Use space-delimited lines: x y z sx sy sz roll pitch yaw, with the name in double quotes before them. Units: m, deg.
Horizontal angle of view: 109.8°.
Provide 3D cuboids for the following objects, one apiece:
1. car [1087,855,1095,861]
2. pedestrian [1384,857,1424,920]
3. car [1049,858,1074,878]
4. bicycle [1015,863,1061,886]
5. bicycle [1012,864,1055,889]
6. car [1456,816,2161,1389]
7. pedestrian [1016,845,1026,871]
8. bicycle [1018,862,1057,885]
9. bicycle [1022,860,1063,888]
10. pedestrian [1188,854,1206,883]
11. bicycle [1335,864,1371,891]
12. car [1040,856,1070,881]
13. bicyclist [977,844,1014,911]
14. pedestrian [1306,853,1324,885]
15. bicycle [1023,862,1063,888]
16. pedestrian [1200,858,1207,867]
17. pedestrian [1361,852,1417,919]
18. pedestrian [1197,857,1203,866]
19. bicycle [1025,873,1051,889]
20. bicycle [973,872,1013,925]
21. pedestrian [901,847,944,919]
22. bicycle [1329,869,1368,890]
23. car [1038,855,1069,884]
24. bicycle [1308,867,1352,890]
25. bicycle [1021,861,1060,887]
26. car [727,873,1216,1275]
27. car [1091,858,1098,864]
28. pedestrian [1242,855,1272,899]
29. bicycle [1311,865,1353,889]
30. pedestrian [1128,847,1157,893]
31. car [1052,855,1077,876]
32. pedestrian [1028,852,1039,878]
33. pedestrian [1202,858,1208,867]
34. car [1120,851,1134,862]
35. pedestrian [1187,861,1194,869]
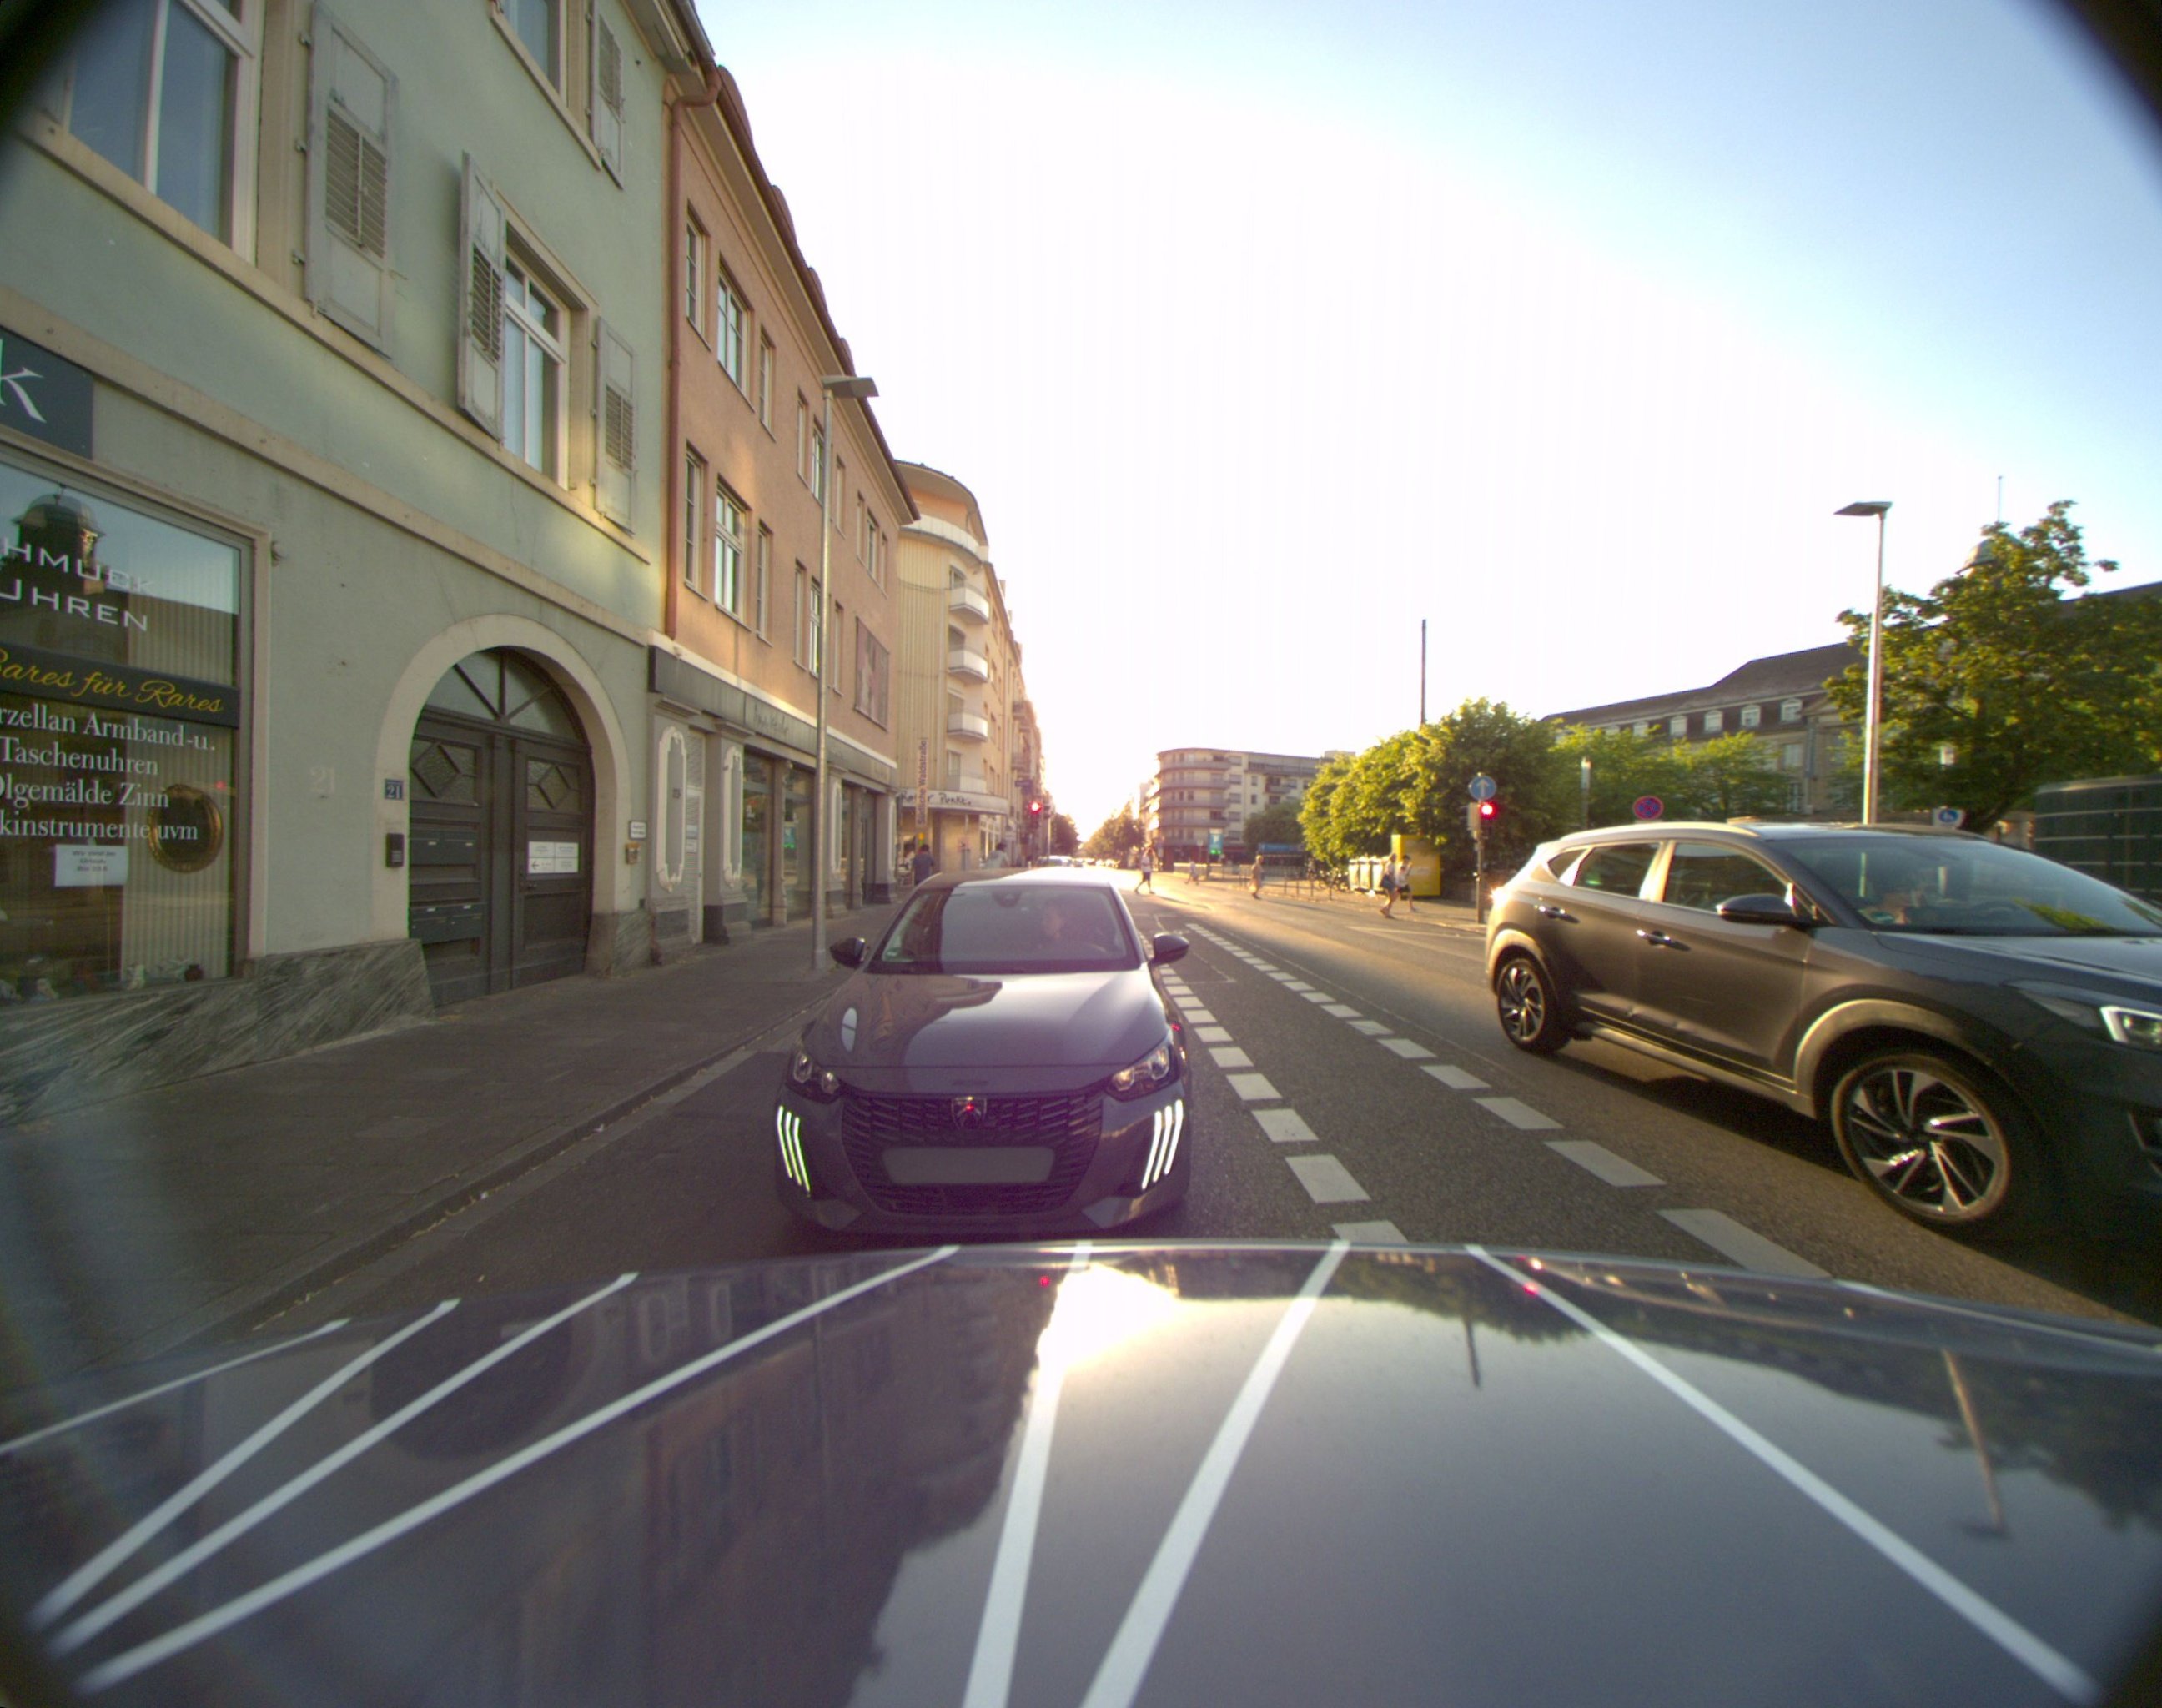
"car" 2.760 1.168 209.471 1.878 1.621 4.177 3 -1 -5
"pedestrian" 9.976 1.050 23.513 0.939 1.886 0.826 1 0 8
"car" -1.403 1.015 56.585 1.738 1.448 4.610 0 0 1
"bicycle" -2.120 1.008 37.437 2.176 1.069 0.805 2 0 -7
"bicycle" -2.134 1.002 34.168 1.788 1.057 0.718 2 0 -11
"car" 4.107 0.762 4.136 1.877 1.679 4.449 2 0 0
"pedestrian" -4.595 0.321 58.189 0.673 2.002 0.851 0 1 0
"bicycle" -2.214 0.997 38.436 1.851 1.117 0.594 2 1 -11
"bicycle" -1.804 0.924 35.106 1.849 1.232 0.639 1 0 -5
"pedestrian" 7.332 0.892 48.068 0.951 1.806 0.827 1 0 18
"bicycle" 13.201 1.132 36.841 1.590 1.245 0.445 -1 0 -2
"car" -1.734 0.922 51.048 1.821 1.611 4.203 0 0 0
"bicyclist" -1.980 0.529 17.640 0.724 1.499 0.900 1 0 1
"pedestrian" 13.715 0.872 44.593 0.870 1.806 0.826 1 0 9
"bicycle" -1.805 0.972 35.853 1.788 1.166 0.622 2 0 -11
"pedestrian" 18.013 1.290 111.594 0.689 1.314 0.819 0 0 -24
"pedestrian" 8.426 0.849 20.812 1.101 1.764 0.825 1 0 -16
"pedestrian" 17.448 1.145 111.420 0.732 1.314 0.889 0 0 -1
"bicycle" -1.900 1.170 33.412 1.008 0.677 1.049 1 0 -9
"bicycle" -2.005 0.997 17.607 0.692 1.100 1.896 1 0 0
"pedestrian" -3.673 0.653 17.708 0.825 1.632 0.871 1 0 -2
"bicycle" 13.114 1.240 37.263 1.678 0.973 0.548 -1 0 -4
"car" -1.625 0.861 44.658 1.702 1.607 4.682 0 0 -2
"bicycle" 12.462 1.210 38.088 2.031 1.128 0.548 -1 0 -4
"bicycle" -1.941 0.960 36.485 1.788 1.166 0.622 2 0 -11
"car" -0.497 0.916 5.223 1.909 1.438 4.448 0 0 -2
"car" 3.426 1.852 193.355 1.790 1.458 3.956 2 0 -1
"pedestrian" 6.768 0.875 29.214 0.789 1.643 0.782 1 1 43
"bicycle" 13.148 1.192 39.852 2.031 1.245 0.548 -1 0 -4
"pedestrian" 2.516 0.637 30.847 0.869 1.806 0.828 1 0 30
"car" -1.293 0.915 62.222 1.877 1.664 4.430 0 0 0
"pedestrian" -3.642 0.853 57.962 0.763 2.002 0.851 0 0 0
"pedestrian" 18.192 1.295 111.345 0.732 1.314 0.888 0 0 -2
"car" 8.170 0.415 135.667 1.999 1.805 3.999 1 1 -2
"pedestrian" 15.836 1.625 109.823 0.887 1.185 0.733 0 0 9
